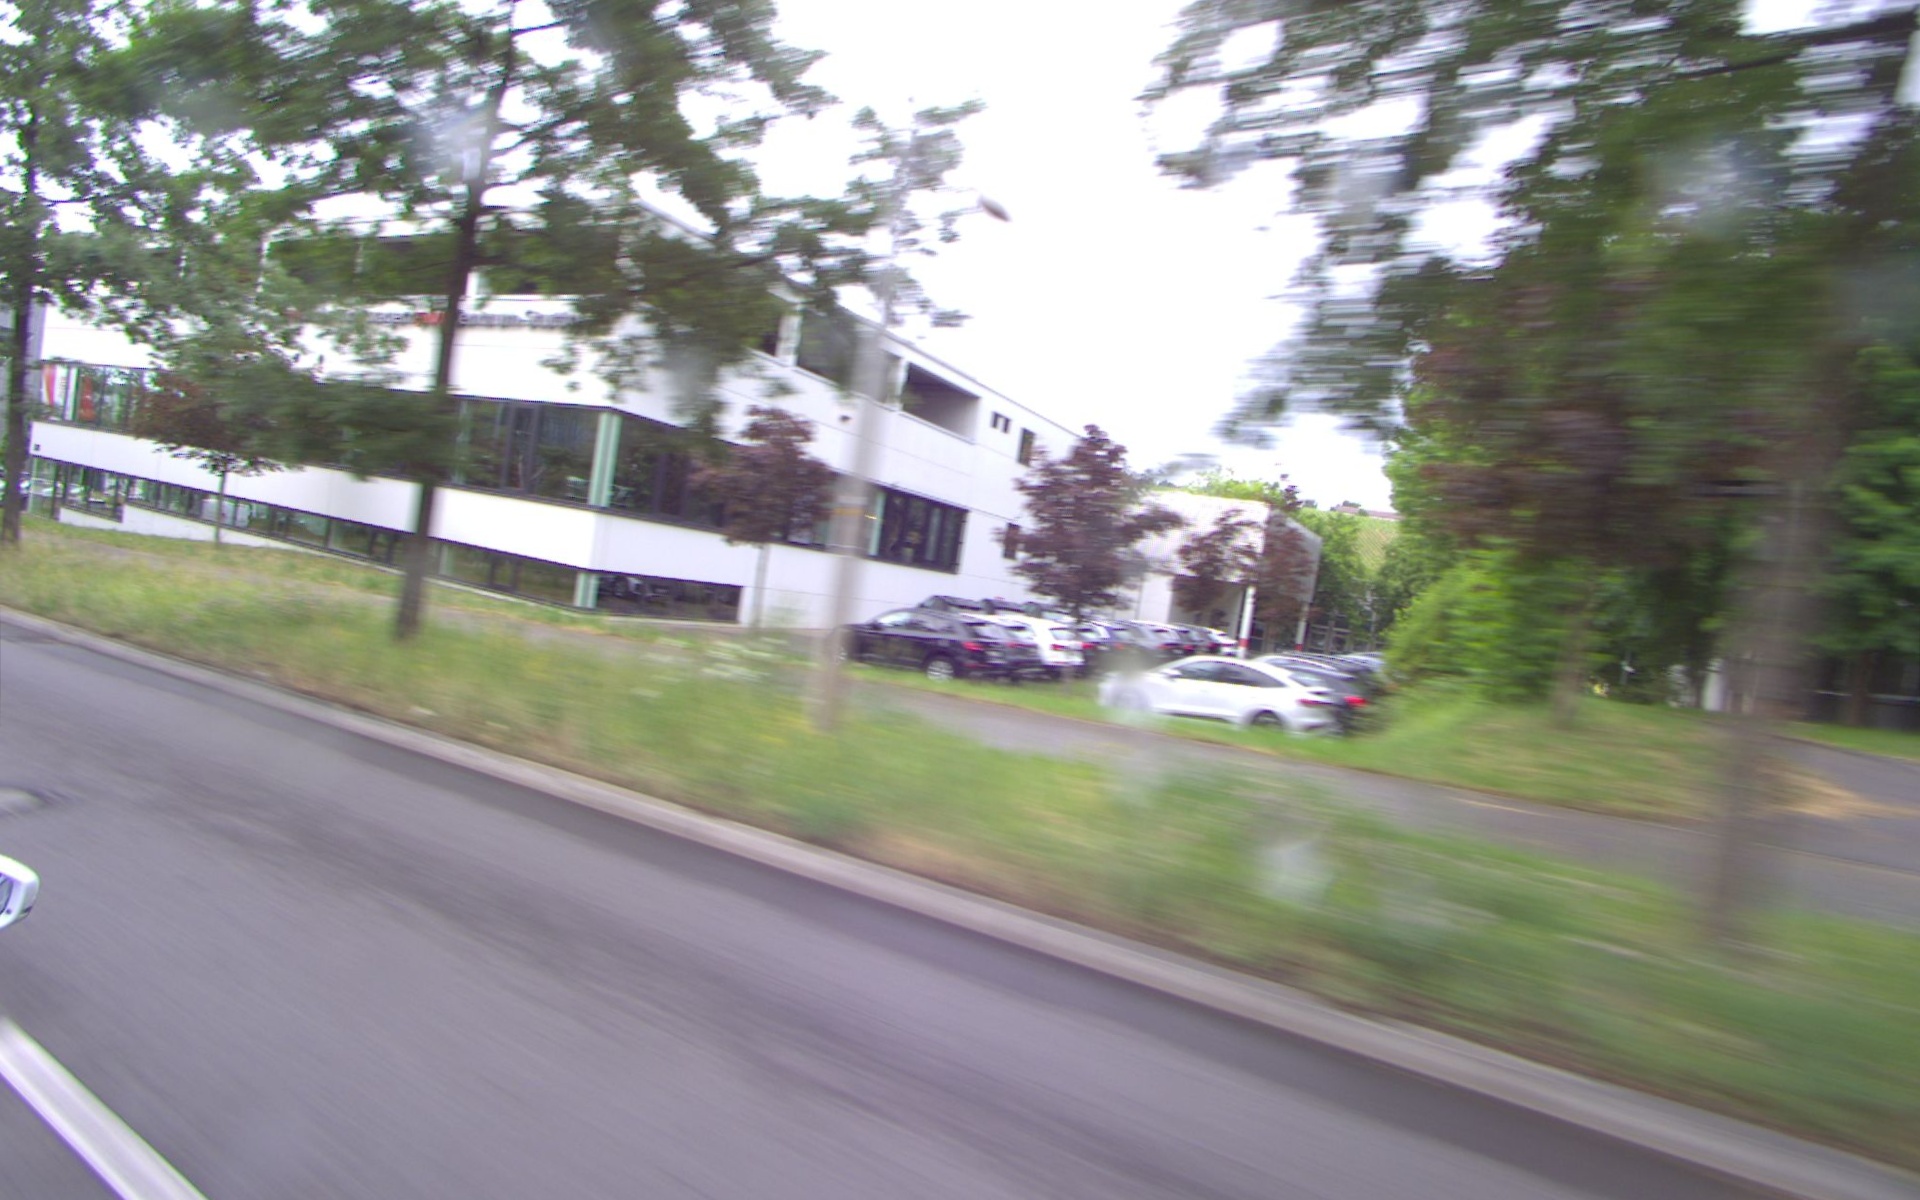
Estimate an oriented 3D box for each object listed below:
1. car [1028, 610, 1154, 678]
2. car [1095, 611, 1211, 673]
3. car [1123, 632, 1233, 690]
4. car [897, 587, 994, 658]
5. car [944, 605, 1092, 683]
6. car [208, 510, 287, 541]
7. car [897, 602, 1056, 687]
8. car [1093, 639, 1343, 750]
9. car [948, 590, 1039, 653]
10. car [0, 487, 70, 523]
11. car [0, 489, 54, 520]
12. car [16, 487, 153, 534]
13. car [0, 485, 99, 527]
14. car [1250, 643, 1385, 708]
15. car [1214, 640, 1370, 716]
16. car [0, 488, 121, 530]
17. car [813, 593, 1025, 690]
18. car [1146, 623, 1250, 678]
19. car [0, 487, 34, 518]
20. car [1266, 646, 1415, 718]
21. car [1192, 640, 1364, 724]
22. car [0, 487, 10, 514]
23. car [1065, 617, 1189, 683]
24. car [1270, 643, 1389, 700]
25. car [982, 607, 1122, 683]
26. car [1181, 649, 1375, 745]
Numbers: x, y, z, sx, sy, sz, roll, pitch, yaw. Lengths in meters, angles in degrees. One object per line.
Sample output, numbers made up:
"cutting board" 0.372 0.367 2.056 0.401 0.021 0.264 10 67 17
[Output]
"car" 4.156 1.362 31.968 3.462 1.698 1.698 6 2 30
"car" 6.911 1.504 36.125 3.580 1.695 1.701 6 -2 30
"car" 8.280 2.327 38.215 3.580 1.695 1.701 6 -2 30
"car" -0.583 0.726 35.038 1.681 1.698 4.502 8 3 -22
"car" 1.585 1.171 27.718 3.580 1.698 1.699 6 2 30
"car" -52.408 -5.474 74.047 1.795 1.613 4.285 6 -1 28
"car" 0.415 1.097 25.717 3.580 1.698 1.699 6 2 30
"car" 5.056 1.820 19.902 4.386 1.501 1.701 6 -2 30
"car" 1.216 0.774 39.042 1.681 1.698 4.502 8 3 -22
"car" -48.443 -4.947 51.137 1.859 1.445 4.403 6 0 30
"car" -50.855 -5.194 52.843 1.898 1.365 4.402 6 0 29
"car" -40.980 -4.169 47.200 1.898 1.500 4.405 6 -1 29
"car" -45.879 -4.707 49.859 2.006 1.519 4.403 6 0 30
"car" 11.032 2.328 31.058 3.580 1.501 1.701 6 -2 30
"car" 8.862 2.080 26.912 3.580 1.501 1.701 6 -2 30
"car" -43.126 -4.341 48.031 1.805 1.395 4.327 6 0 28
"car" -0.991 0.928 23.561 4.512 1.697 1.905 6 1 30
"car" 9.530 2.029 40.388 3.580 1.695 1.701 6 -2 30
"car" -53.458 -5.557 54.436 1.898 1.473 4.469 6 -1 29
"car" 10.647 2.295 28.168 3.580 1.501 1.701 6 -2 30
"car" 7.693 1.974 24.370 3.580 1.501 1.701 6 -2 30
"car" -56.082 -5.826 55.832 1.898 1.474 4.467 6 0 29
"car" 5.596 1.676 33.800 3.580 1.695 1.701 6 -2 30
"car" 13.022 2.509 35.502 3.580 1.501 1.701 6 -2 30
"car" 2.713 1.321 29.744 3.580 1.694 1.703 6 -3 30
"car" 6.833 2.054 21.666 3.580 1.501 1.701 6 -2 30
